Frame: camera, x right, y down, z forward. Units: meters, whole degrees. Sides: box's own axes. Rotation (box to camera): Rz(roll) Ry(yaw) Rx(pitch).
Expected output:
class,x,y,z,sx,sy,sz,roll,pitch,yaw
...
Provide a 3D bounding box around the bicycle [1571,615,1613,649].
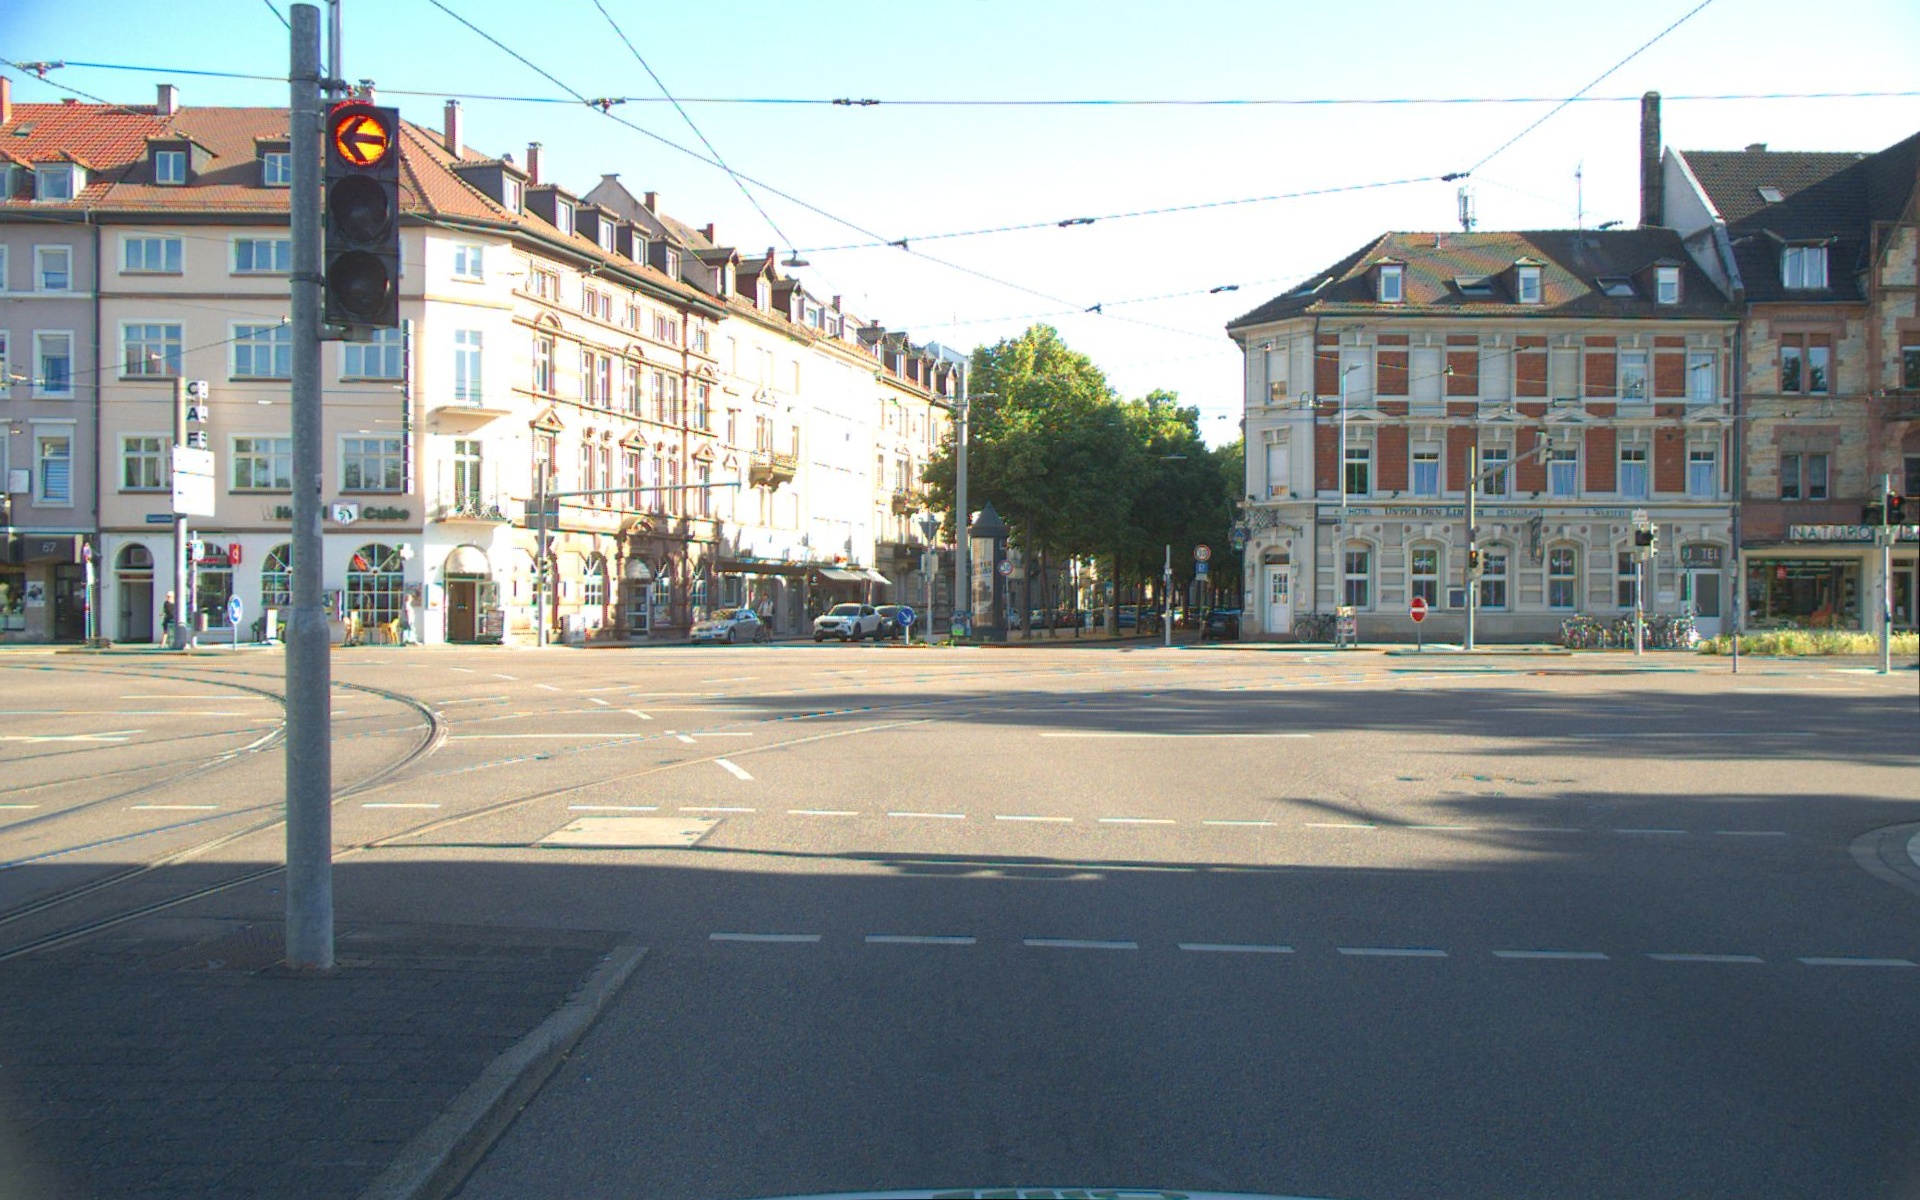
class,x,y,z,sx,sy,sz,roll,pitch,yaw
bicycle,20.467,1.037,53.562,0.593,1.069,1.641,0,0,-6

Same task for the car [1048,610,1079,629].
class,x,y,z,sx,sy,sz,roll,pitch,yaw
car,8.248,1.545,131.702,1.704,1.422,4.127,3,0,13

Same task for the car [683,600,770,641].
class,x,y,z,sx,sy,sz,roll,pitch,yaw
car,-9.449,0.814,67.216,2.052,1.572,4.367,0,0,13

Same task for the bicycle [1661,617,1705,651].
class,x,y,z,sx,sy,sz,roll,pitch,yaw
bicycle,23.331,1.086,53.417,0.593,1.069,1.641,0,0,-6

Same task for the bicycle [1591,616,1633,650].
class,x,y,z,sx,sy,sz,roll,pitch,yaw
bicycle,21.119,1.049,53.588,0.593,1.069,1.641,0,0,-6

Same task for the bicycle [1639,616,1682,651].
class,x,y,z,sx,sy,sz,roll,pitch,yaw
bicycle,22.605,1.074,53.396,0.593,1.069,1.641,0,0,-6

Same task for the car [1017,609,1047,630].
class,x,y,z,sx,sy,sz,roll,pitch,yaw
car,5.338,1.420,122.835,1.704,1.422,4.127,3,0,9

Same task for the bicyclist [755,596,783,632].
class,x,y,z,sx,sy,sz,roll,pitch,yaw
bicyclist,-7.558,0.545,65.460,0.776,1.399,1.109,0,0,14

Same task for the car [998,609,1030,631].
class,x,y,z,sx,sy,sz,roll,pitch,yaw
car,3.807,1.363,115.835,1.704,1.422,4.127,3,0,9

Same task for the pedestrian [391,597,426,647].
class,x,y,z,sx,sy,sz,roll,pitch,yaw
pedestrian,-18.261,0.711,54.744,1.050,1.618,1.036,0,0,-21

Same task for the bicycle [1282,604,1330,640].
class,x,y,z,sx,sy,sz,roll,pitch,yaw
bicycle,11.977,0.765,57.297,1.603,1.243,0.607,0,0,16

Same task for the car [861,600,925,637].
class,x,y,z,sx,sy,sz,roll,pitch,yaw
car,-2.957,0.800,73.468,1.951,1.540,4.004,0,0,11

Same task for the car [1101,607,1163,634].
class,x,y,z,sx,sy,sz,roll,pitch,yaw
car,12.008,1.408,115.379,4.024,1.675,1.748,3,0,15

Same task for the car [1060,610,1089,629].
class,x,y,z,sx,sy,sz,roll,pitch,yaw
car,9.425,1.582,136.497,1.704,1.422,4.127,3,0,13

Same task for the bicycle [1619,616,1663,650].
class,x,y,z,sx,sy,sz,roll,pitch,yaw
bicycle,21.945,1.062,53.320,0.593,1.069,1.641,0,0,-6

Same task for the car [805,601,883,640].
class,x,y,z,sx,sy,sz,roll,pitch,yaw
car,-4.649,0.792,67.075,2.052,1.525,4.003,0,0,13

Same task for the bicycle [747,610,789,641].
class,x,y,z,sx,sy,sz,roll,pitch,yaw
bicycle,-7.572,0.996,65.490,0.734,1.155,2.812,0,0,14

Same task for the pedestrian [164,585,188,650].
class,x,y,z,sx,sy,sz,roll,pitch,yaw
pedestrian,-24.665,0.540,52.031,0.498,2.049,0.505,0,0,2

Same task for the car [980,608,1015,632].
class,x,y,z,sx,sy,sz,roll,pitch,yaw
car,2.530,1.316,110.012,1.704,1.422,4.127,3,0,9

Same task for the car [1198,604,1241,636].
class,x,y,z,sx,sy,sz,roll,pitch,yaw
car,12.976,1.006,82.460,1.616,1.551,3.755,0,-1,17

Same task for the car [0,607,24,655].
class,x,y,z,sx,sy,sz,roll,pitch,yaw
car,-32.061,0.999,52.151,3.910,1.489,1.998,-1,1,-6

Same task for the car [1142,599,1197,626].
class,x,y,z,sx,sy,sz,roll,pitch,yaw
car,16.962,1.021,133.659,4.026,1.952,1.746,3,0,21

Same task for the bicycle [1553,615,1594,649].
class,x,y,z,sx,sy,sz,roll,pitch,yaw
bicycle,19.827,1.026,53.506,0.593,1.069,1.641,0,0,-6
